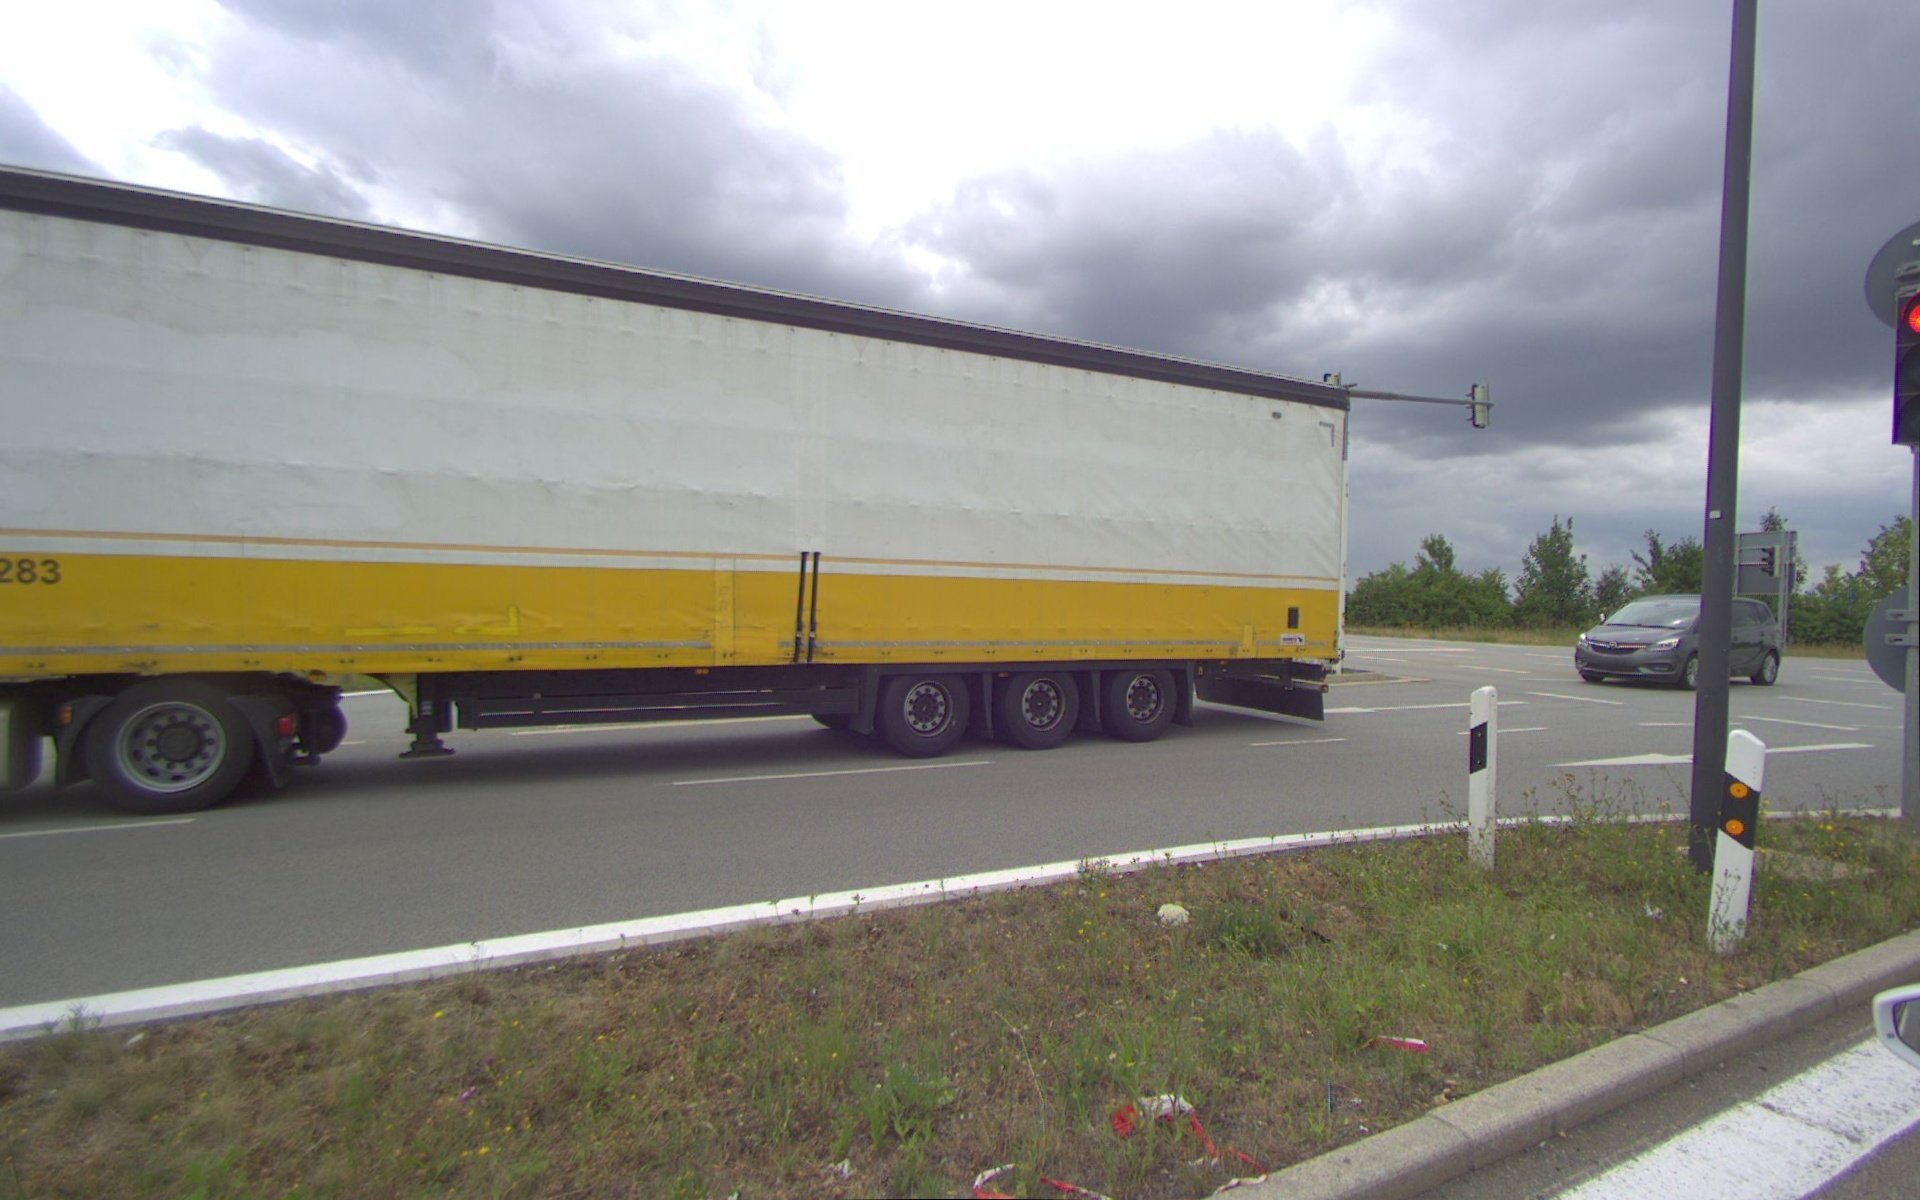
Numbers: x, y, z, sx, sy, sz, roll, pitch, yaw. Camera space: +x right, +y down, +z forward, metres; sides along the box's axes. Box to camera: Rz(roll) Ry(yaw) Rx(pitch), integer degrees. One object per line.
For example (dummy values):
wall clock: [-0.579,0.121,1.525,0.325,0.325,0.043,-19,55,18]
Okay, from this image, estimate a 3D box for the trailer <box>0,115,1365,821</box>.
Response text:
trailer: [-1.815,-0.649,9.848,13.673,4.266,2.680,2,0,-29]

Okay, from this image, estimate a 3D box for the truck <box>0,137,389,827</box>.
truck: [-7.541,-0.761,6.691,6.325,4.196,2.638,2,0,-29]

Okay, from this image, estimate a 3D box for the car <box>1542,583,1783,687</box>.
car: [13.033,0.626,18.585,4.403,1.716,1.984,2,0,-30]
